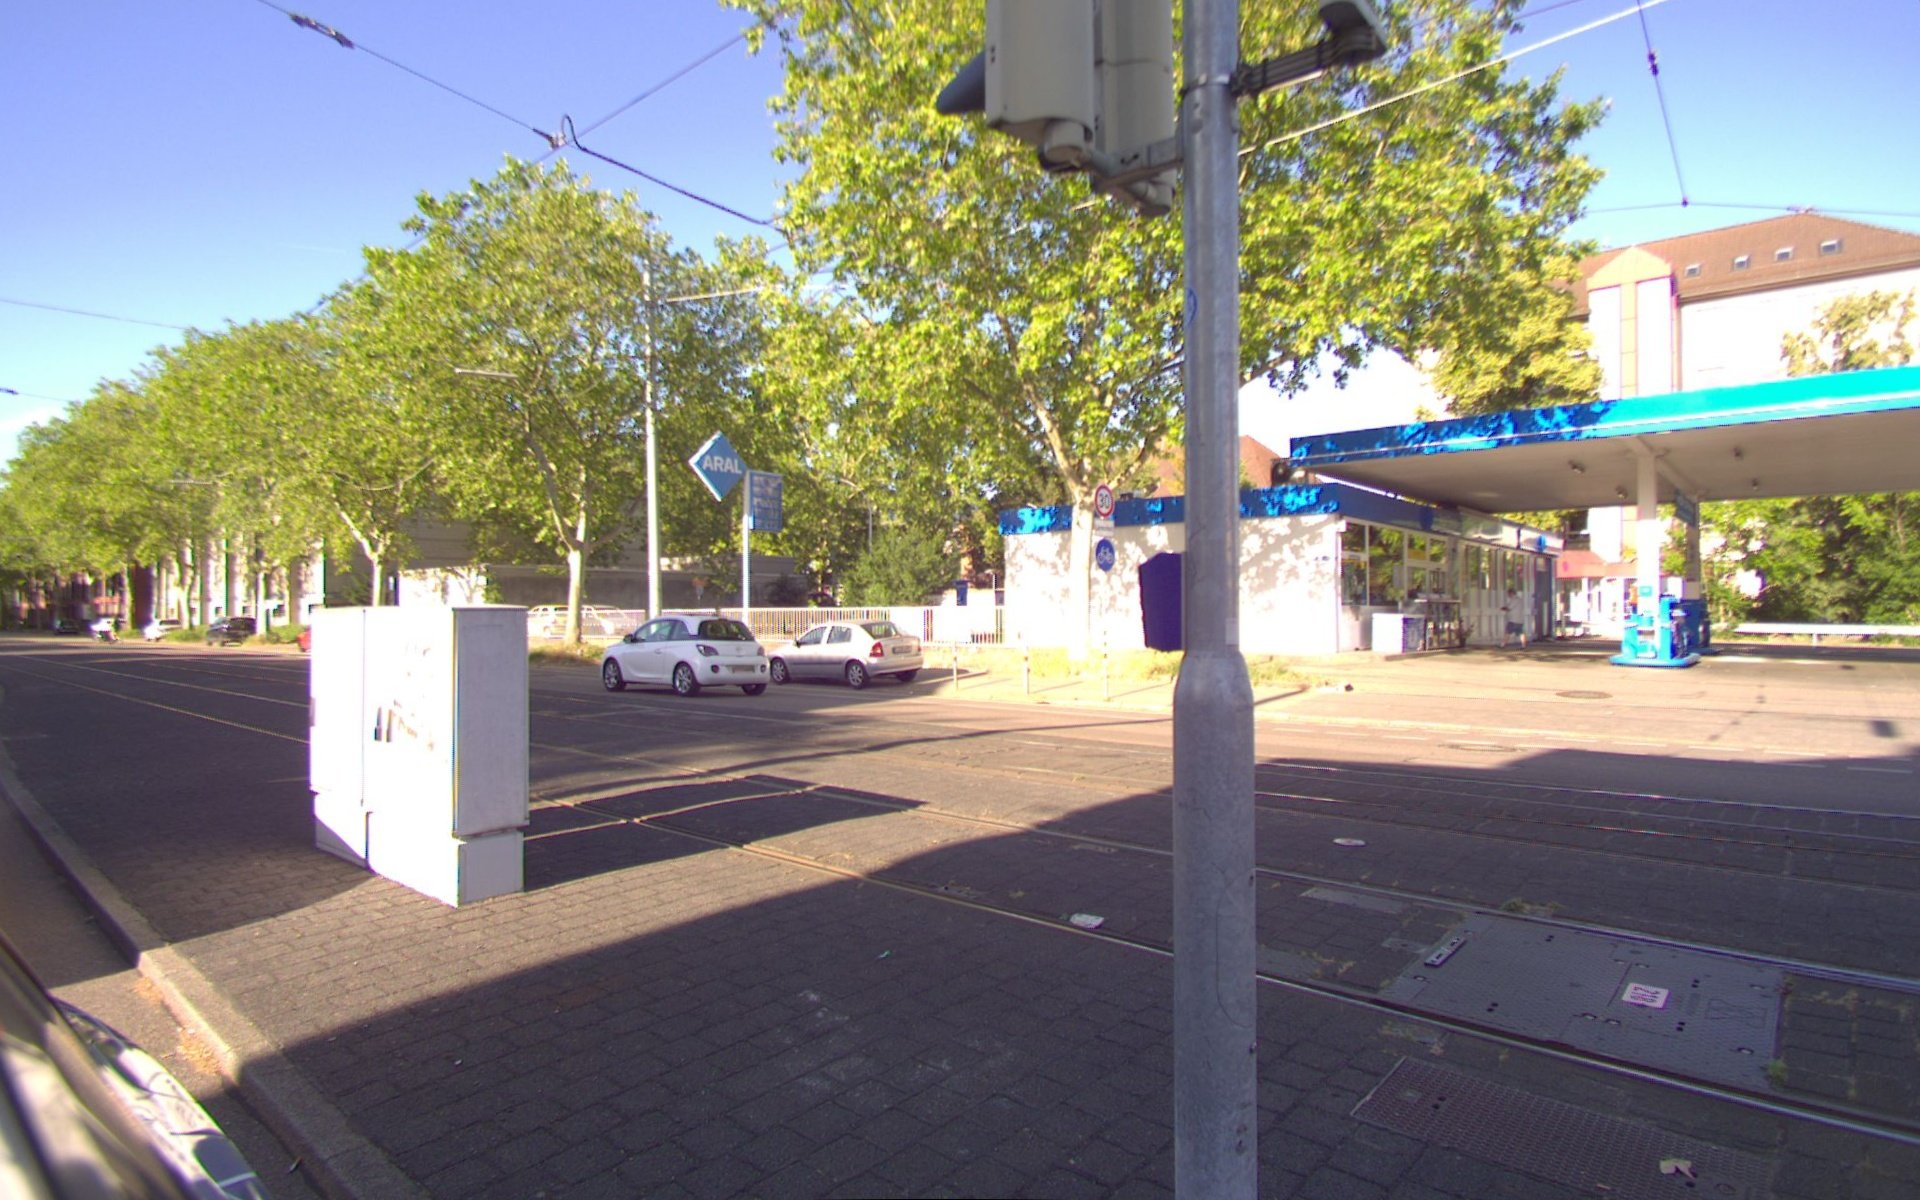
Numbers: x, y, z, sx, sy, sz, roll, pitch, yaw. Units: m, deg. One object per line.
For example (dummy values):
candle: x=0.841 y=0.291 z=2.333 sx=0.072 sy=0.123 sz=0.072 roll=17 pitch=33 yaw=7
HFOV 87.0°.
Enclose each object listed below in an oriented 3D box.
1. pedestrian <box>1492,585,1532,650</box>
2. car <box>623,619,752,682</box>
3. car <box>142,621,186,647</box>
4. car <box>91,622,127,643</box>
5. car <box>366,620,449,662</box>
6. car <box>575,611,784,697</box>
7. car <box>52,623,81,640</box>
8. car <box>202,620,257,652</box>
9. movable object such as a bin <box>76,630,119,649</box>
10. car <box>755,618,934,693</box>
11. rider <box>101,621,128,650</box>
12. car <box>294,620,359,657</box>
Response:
pedestrian: x=14.945 y=0.479 z=27.414 sx=0.847 sy=1.715 sz=0.640 roll=-1 pitch=-3 yaw=40
car: x=-7.309 y=1.291 z=27.013 sx=3.606 sy=1.455 sz=1.598 roll=-1 pitch=2 yaw=43
car: x=-53.701 y=2.268 z=68.240 sx=3.878 sy=1.552 sz=1.731 roll=-1 pitch=2 yaw=43
car: x=-66.788 y=2.502 z=79.408 sx=3.731 sy=1.471 sz=1.639 roll=-1 pitch=2 yaw=43
car: x=-21.780 y=1.567 z=39.843 sx=3.769 sy=1.455 sz=1.701 roll=-1 pitch=2 yaw=43
car: x=-5.271 y=0.977 z=18.840 sx=3.930 sy=1.446 sz=1.721 roll=-1 pitch=-4 yaw=38
car: x=-85.036 y=3.013 z=96.328 sx=3.731 sy=1.471 sz=1.639 roll=-1 pitch=2 yaw=43
car: x=-40.772 y=1.981 z=56.473 sx=3.878 sy=1.603 sz=1.731 roll=-1 pitch=2 yaw=43
movable object such as a bin: x=-50.455 y=2.307 z=59.222 sx=1.820 sy=1.111 sz=1.171 roll=-1 pitch=0 yaw=19
car: x=-2.629 y=1.188 z=22.594 sx=3.987 sy=1.376 sz=1.666 roll=-2 pitch=3 yaw=41
rider: x=-49.184 y=2.040 z=58.870 sx=1.097 sy=1.660 sz=0.721 roll=-1 pitch=0 yaw=19
car: x=-28.782 y=1.713 z=45.976 sx=3.377 sy=1.506 sz=1.639 roll=-1 pitch=2 yaw=43
